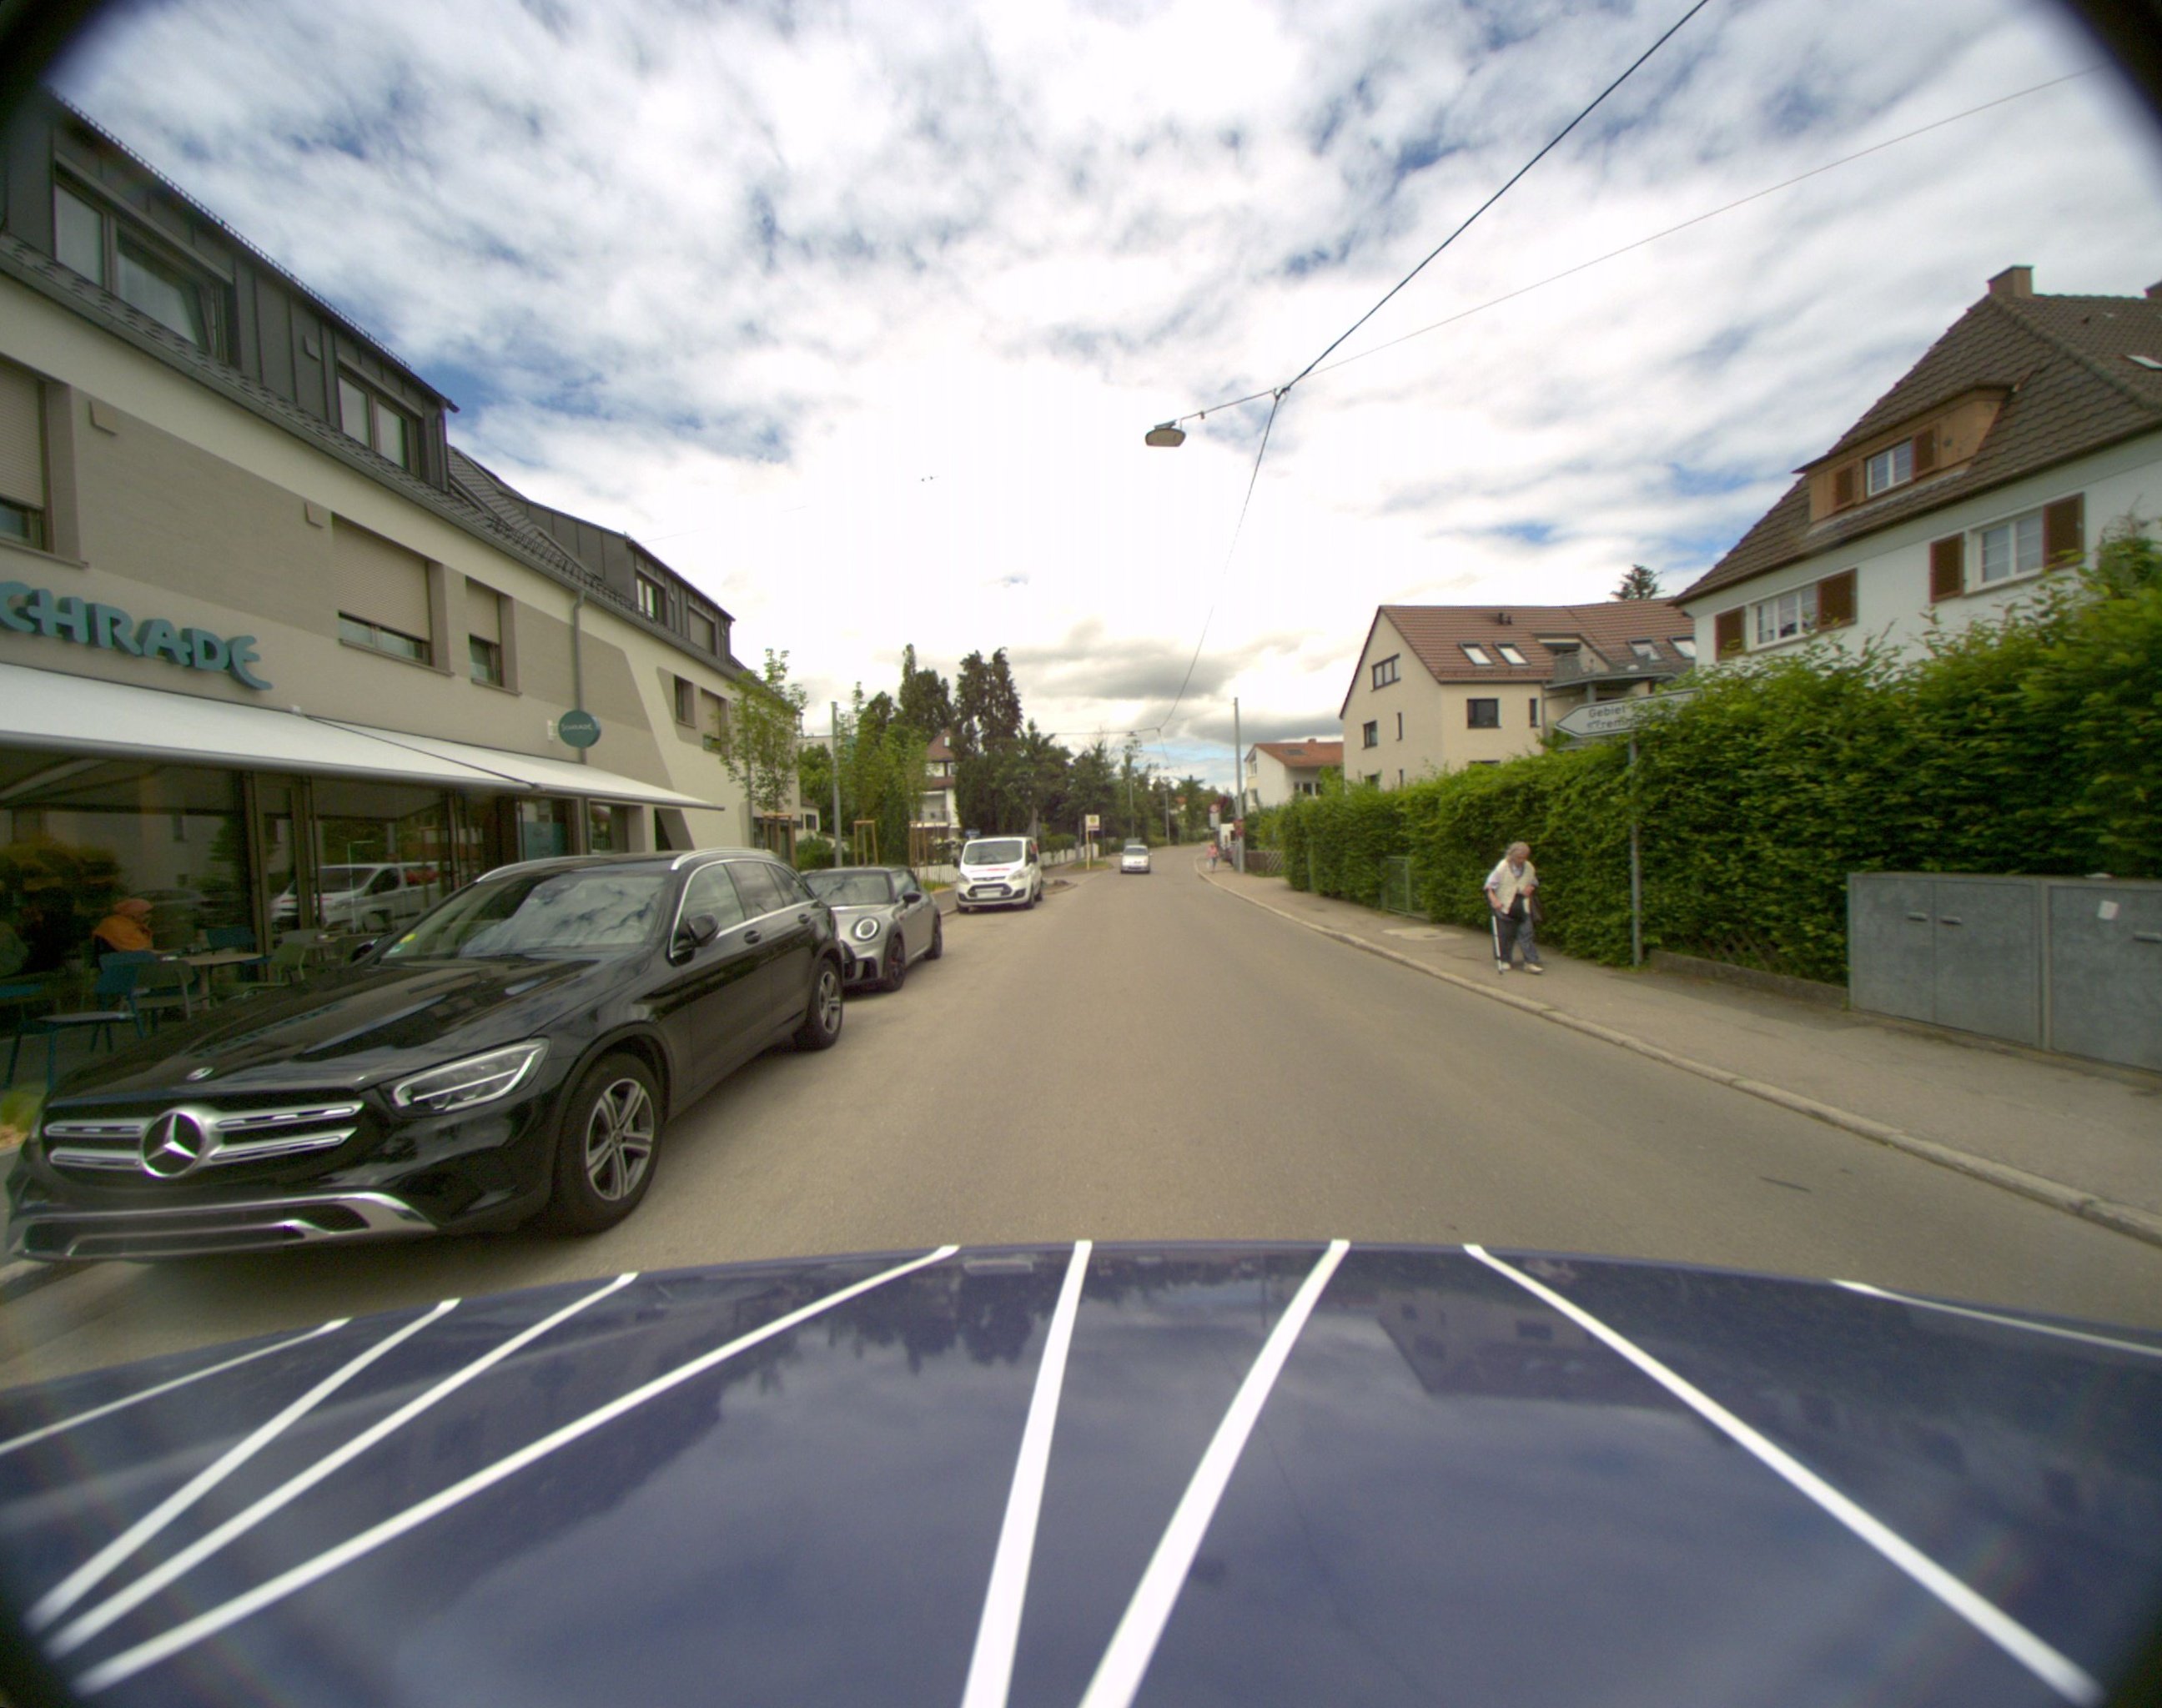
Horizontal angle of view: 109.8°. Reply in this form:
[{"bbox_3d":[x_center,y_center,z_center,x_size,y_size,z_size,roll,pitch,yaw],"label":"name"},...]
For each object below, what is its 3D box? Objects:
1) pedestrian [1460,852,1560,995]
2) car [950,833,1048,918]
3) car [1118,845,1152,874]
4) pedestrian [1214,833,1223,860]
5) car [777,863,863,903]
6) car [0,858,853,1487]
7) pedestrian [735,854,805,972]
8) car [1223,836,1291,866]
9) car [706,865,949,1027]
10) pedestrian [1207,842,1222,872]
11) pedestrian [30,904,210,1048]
[{"bbox_3d":[4.893,0.766,8.690,0.749,1.522,0.544,-4,1,-12],"label":"pedestrian"},{"bbox_3d":[-2.163,0.504,21.804,1.998,2.002,5.566,-4,1,1],"label":"car"},{"bbox_3d":[3.126,0.269,44.476,1.726,1.559,3.927,-3,1,1],"label":"car"},{"bbox_3d":[10.025,-0.552,55.388,0.535,1.941,0.528,-2,1,11],"label":"pedestrian"},{"bbox_3d":[-13.750,1.513,40.226,3.844,1.587,1.875,-7,2,-6],"label":"car"},{"bbox_3d":[-2.926,0.933,4.361,1.852,1.627,4.464,-3,1,-1],"label":"car"},{"bbox_3d":[-4.554,0.844,11.161,0.678,1.659,0.660,-1,1,1],"label":"pedestrian"},{"bbox_3d":[11.366,-0.209,49.356,3.996,1.718,1.885,-2,1,3],"label":"car"},{"bbox_3d":[-2.906,0.961,9.645,1.711,1.444,3.834,-3,1,0],"label":"car"},{"bbox_3d":[7.078,0.154,40.187,0.619,1.590,0.608,-2,1,0],"label":"pedestrian"},{"bbox_3d":[-9.154,1.136,7.273,0.753,1.231,0.691,-2,1,-4],"label":"pedestrian"}]
